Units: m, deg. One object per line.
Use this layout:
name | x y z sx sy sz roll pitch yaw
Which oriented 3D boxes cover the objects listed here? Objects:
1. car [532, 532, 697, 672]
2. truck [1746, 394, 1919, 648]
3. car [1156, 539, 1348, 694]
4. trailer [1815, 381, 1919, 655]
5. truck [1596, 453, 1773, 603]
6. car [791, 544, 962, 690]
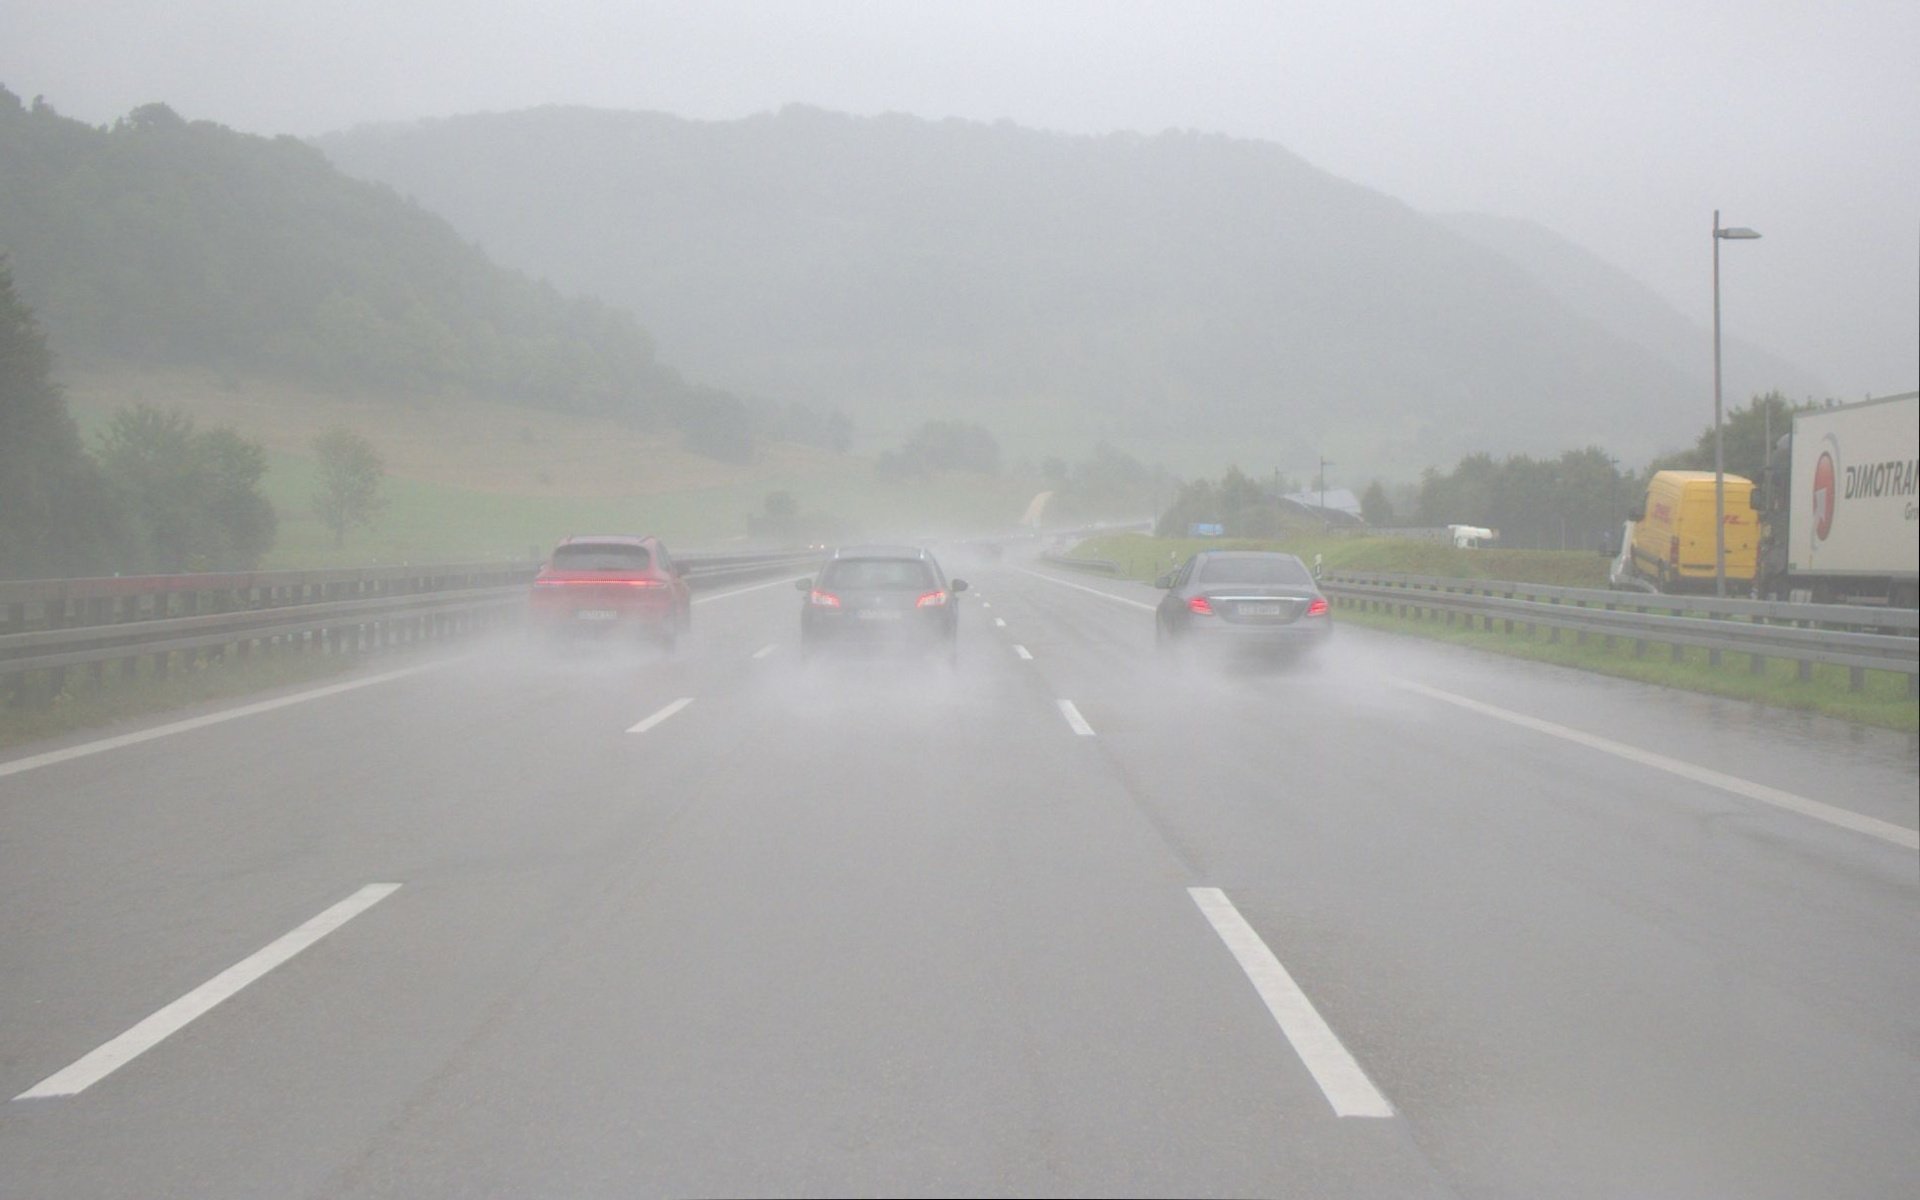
car | -4.641 -0.016 46.630 1.884 1.809 4.000 0 1 -1
truck | 16.658 -1.346 61.171 3.527 4.205 7.816 1 1 0
car | 3.444 0.153 41.248 1.971 1.754 4.000 0 1 0
trailer | 16.610 -1.246 53.914 3.516 4.247 11.920 1 1 1
truck | 16.144 -1.584 77.178 2.291 3.136 8.863 1 1 2
car | -0.921 0.162 40.088 1.859 1.584 4.000 1 1 0
